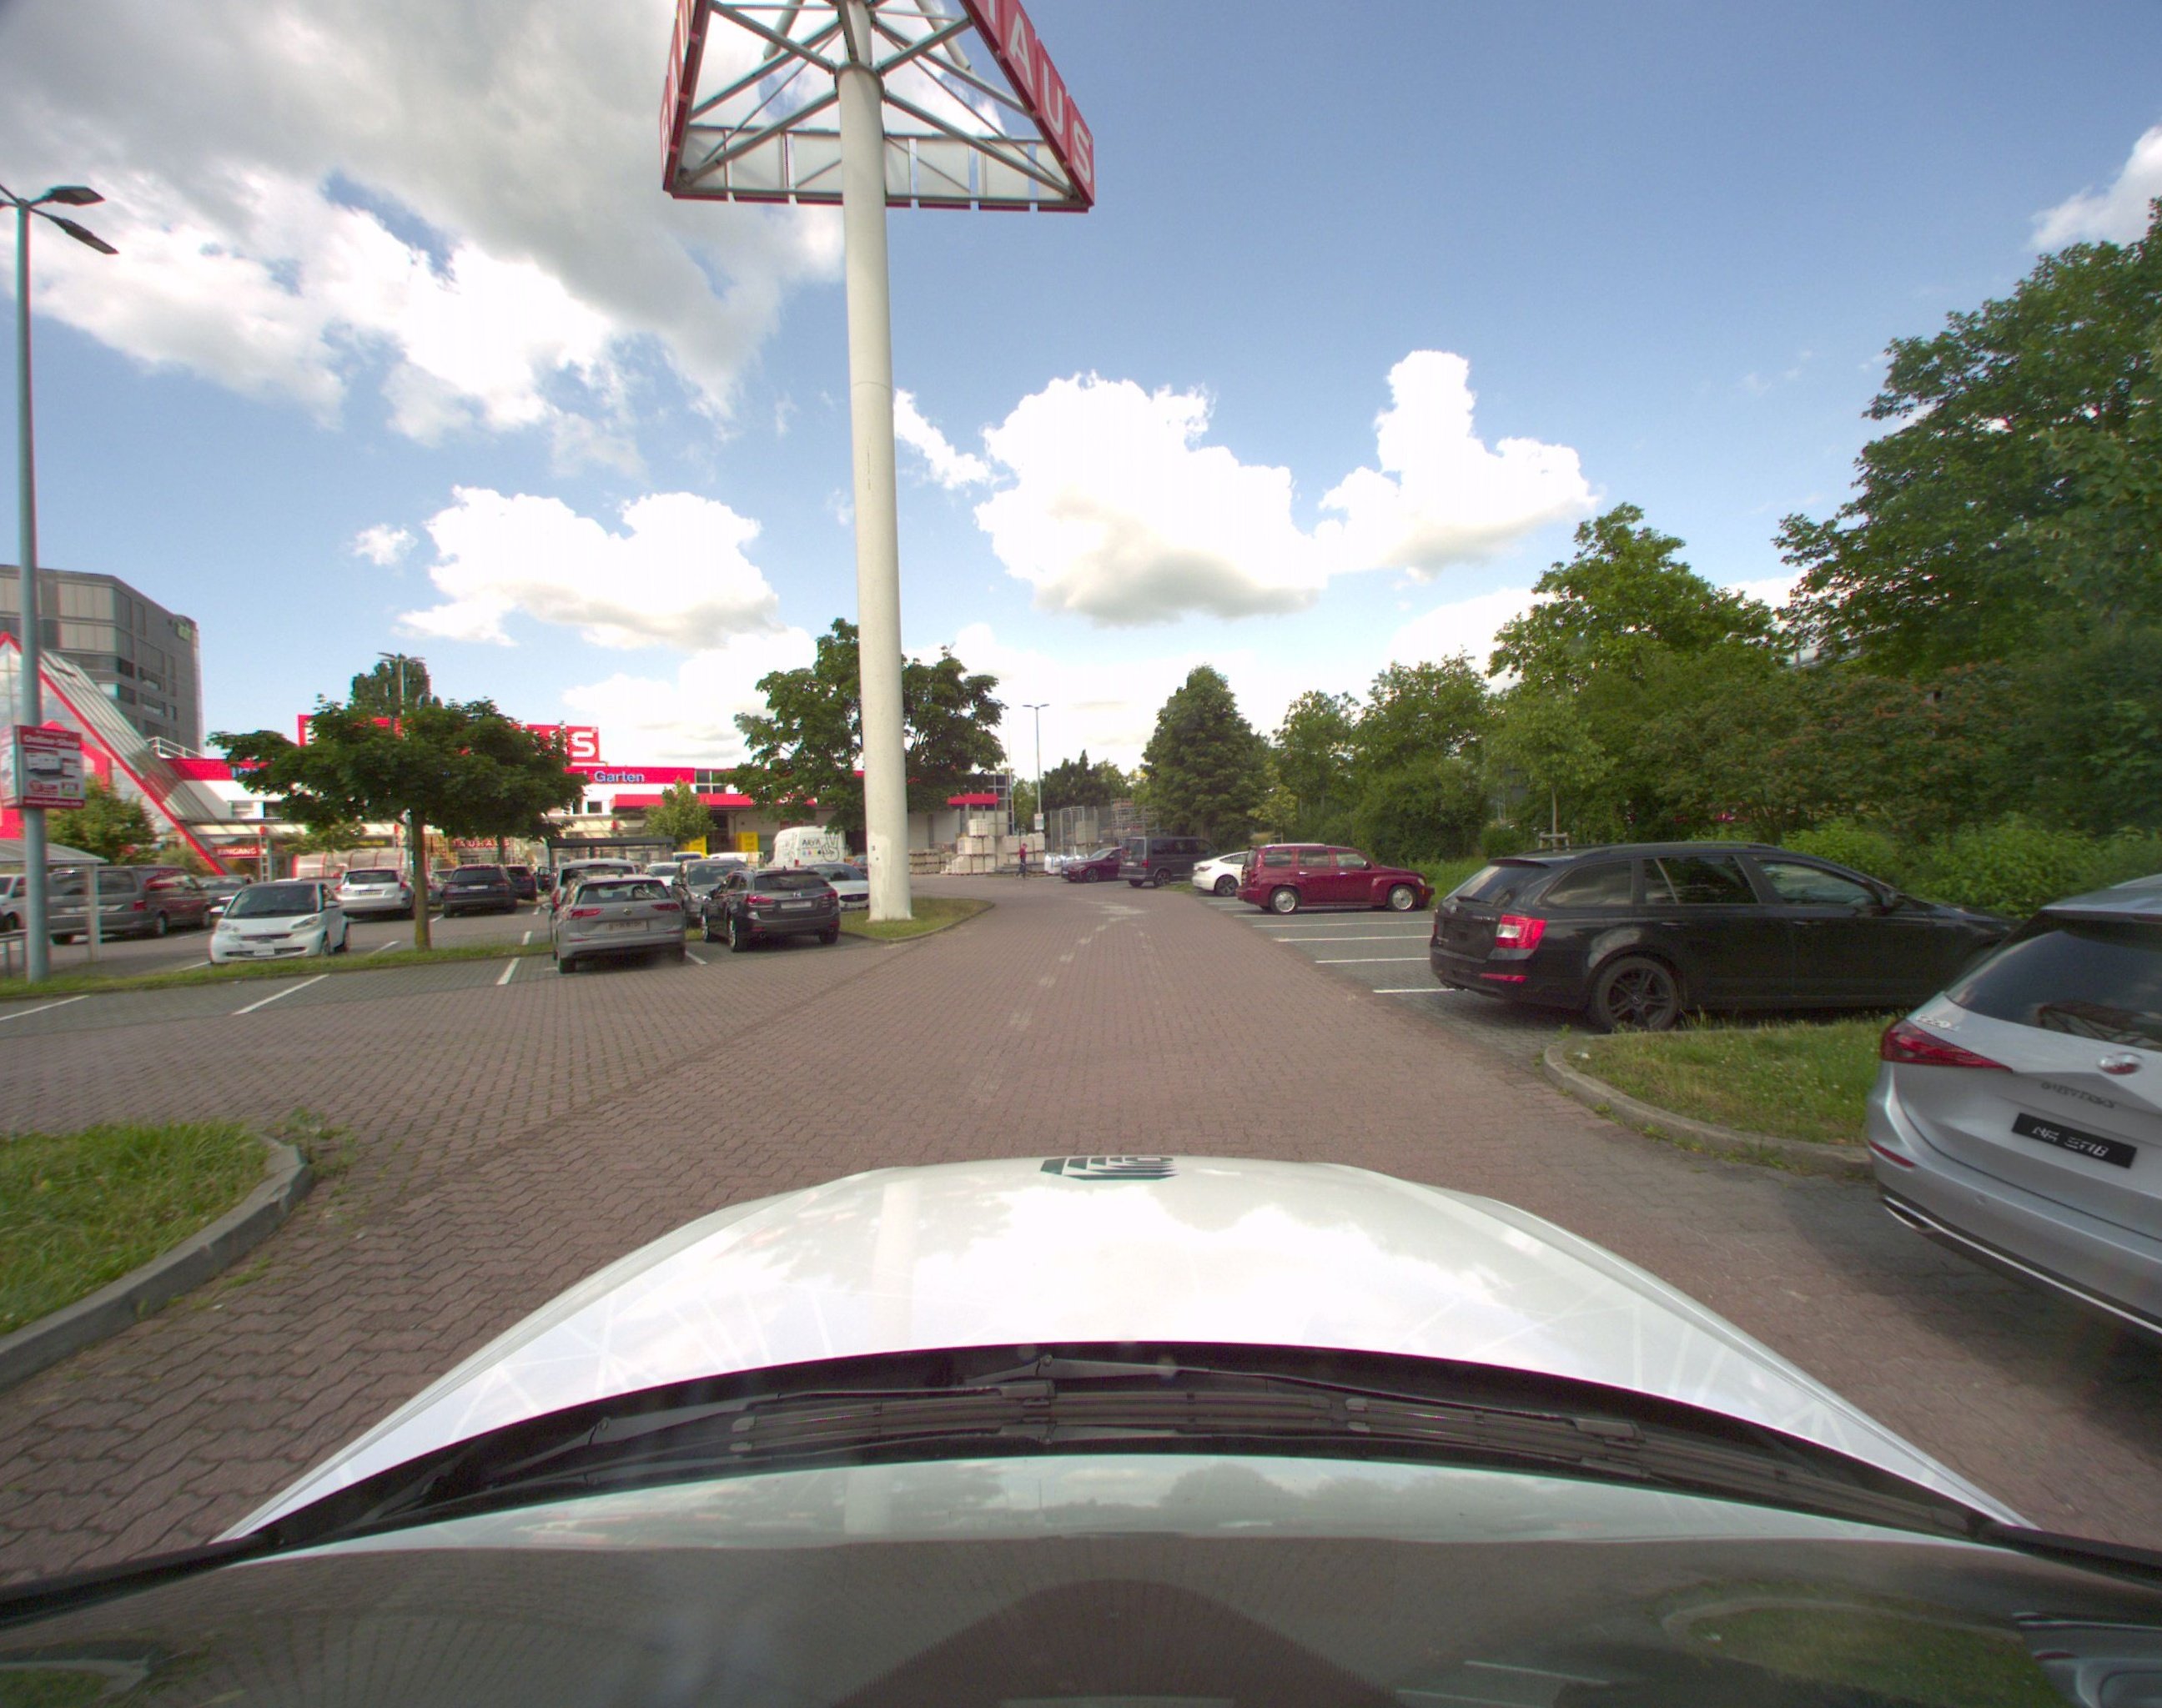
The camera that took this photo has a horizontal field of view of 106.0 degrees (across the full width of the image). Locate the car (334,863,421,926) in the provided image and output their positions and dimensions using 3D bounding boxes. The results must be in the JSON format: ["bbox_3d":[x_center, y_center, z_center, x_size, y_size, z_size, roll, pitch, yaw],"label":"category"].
[{"bbox_3d":[-21.935,1.219,25.513,1.609,1.743,3.133,-4,1,-34],"label":"car"}]

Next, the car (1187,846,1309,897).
[{"bbox_3d":[5.348,0.553,26.407,3.619,1.468,1.634,-2,-1,1],"label":"car"}]

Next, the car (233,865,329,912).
[{"bbox_3d":[-35.854,1.514,36.638,2.005,2.014,3.963,1,-2,-28],"label":"car"}]

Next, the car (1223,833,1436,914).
[{"bbox_3d":[5.640,0.423,18.905,4.292,1.596,2.000,-3,0,0],"label":"car"}]

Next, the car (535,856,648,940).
[{"bbox_3d":[-11.249,0.930,18.589,1.918,1.596,3.957,-3,0,-35],"label":"car"}]

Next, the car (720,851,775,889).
[{"bbox_3d":[-18.725,0.913,45.632,2.009,2.014,3.956,1,-2,-36],"label":"car"}]

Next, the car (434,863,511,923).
[{"bbox_3d":[-19.763,1.206,26.571,1.772,1.524,3.434,-4,4,-34],"label":"car"}]

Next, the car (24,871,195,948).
[{"bbox_3d":[-26.168,1.419,22.133,2.009,1.778,3.956,-3,0,-36],"label":"car"}]

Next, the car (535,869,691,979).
[{"bbox_3d":[-7.754,1.022,13.338,1.733,1.446,3.731,-3,0,-37],"label":"car"}]

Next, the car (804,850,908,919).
[{"bbox_3d":[-6.207,0.775,22.184,2.004,1.618,3.966,-3,0,-26],"label":"car"}]

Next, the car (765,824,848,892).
[{"bbox_3d":[-11.104,0.137,32.699,2.061,2.510,4.680,-1,0,-33],"label":"car"}]

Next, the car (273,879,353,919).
[{"bbox_3d":[-27.626,1.577,29.385,1.750,1.340,3.427,1,-2,-38],"label":"car"}]

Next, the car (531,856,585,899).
[{"bbox_3d":[-25.891,1.157,40.258,2.009,2.014,3.956,1,-2,-36],"label":"car"}]

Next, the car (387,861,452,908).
[{"bbox_3d":[-30.027,1.374,37.065,2.009,2.014,3.956,1,-2,-36],"label":"car"}]

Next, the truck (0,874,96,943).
[{"bbox_3d":[-33.842,1.657,25.643,1.866,2.014,5.354,1,-2,-31],"label":"truck"}]

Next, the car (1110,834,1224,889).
[{"bbox_3d":[3.376,0.273,31.979,4.068,2.019,1.929,-1,-1,-29],"label":"car"}]

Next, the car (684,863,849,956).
[{"bbox_3d":[-6.079,0.947,15.455,1.836,1.439,4.045,-3,0,-37],"label":"car"}]

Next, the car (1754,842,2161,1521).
[{"bbox_3d":[4.767,0.677,2.055,4.623,1.504,1.785,-3,0,0],"label":"car"}]

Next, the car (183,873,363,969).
[{"bbox_3d":[-16.067,1.218,16.436,1.726,1.596,3.959,-3,0,-33],"label":"car"}]

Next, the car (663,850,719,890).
[{"bbox_3d":[-20.799,0.878,43.344,2.009,2.014,3.956,1,-2,-36],"label":"car"}]

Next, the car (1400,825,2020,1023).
[{"bbox_3d":[5.064,0.550,6.981,3.974,1.381,1.699,-1,-2,0],"label":"car"}]

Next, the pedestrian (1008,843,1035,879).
[{"bbox_3d":[-2.768,0.329,38.092,0.910,1.665,0.789,-2,0,29],"label":"pedestrian"}]

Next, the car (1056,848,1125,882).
[{"bbox_3d":[0.421,0.489,35.666,2.694,1.432,1.343,1,-2,-26],"label":"car"}]
